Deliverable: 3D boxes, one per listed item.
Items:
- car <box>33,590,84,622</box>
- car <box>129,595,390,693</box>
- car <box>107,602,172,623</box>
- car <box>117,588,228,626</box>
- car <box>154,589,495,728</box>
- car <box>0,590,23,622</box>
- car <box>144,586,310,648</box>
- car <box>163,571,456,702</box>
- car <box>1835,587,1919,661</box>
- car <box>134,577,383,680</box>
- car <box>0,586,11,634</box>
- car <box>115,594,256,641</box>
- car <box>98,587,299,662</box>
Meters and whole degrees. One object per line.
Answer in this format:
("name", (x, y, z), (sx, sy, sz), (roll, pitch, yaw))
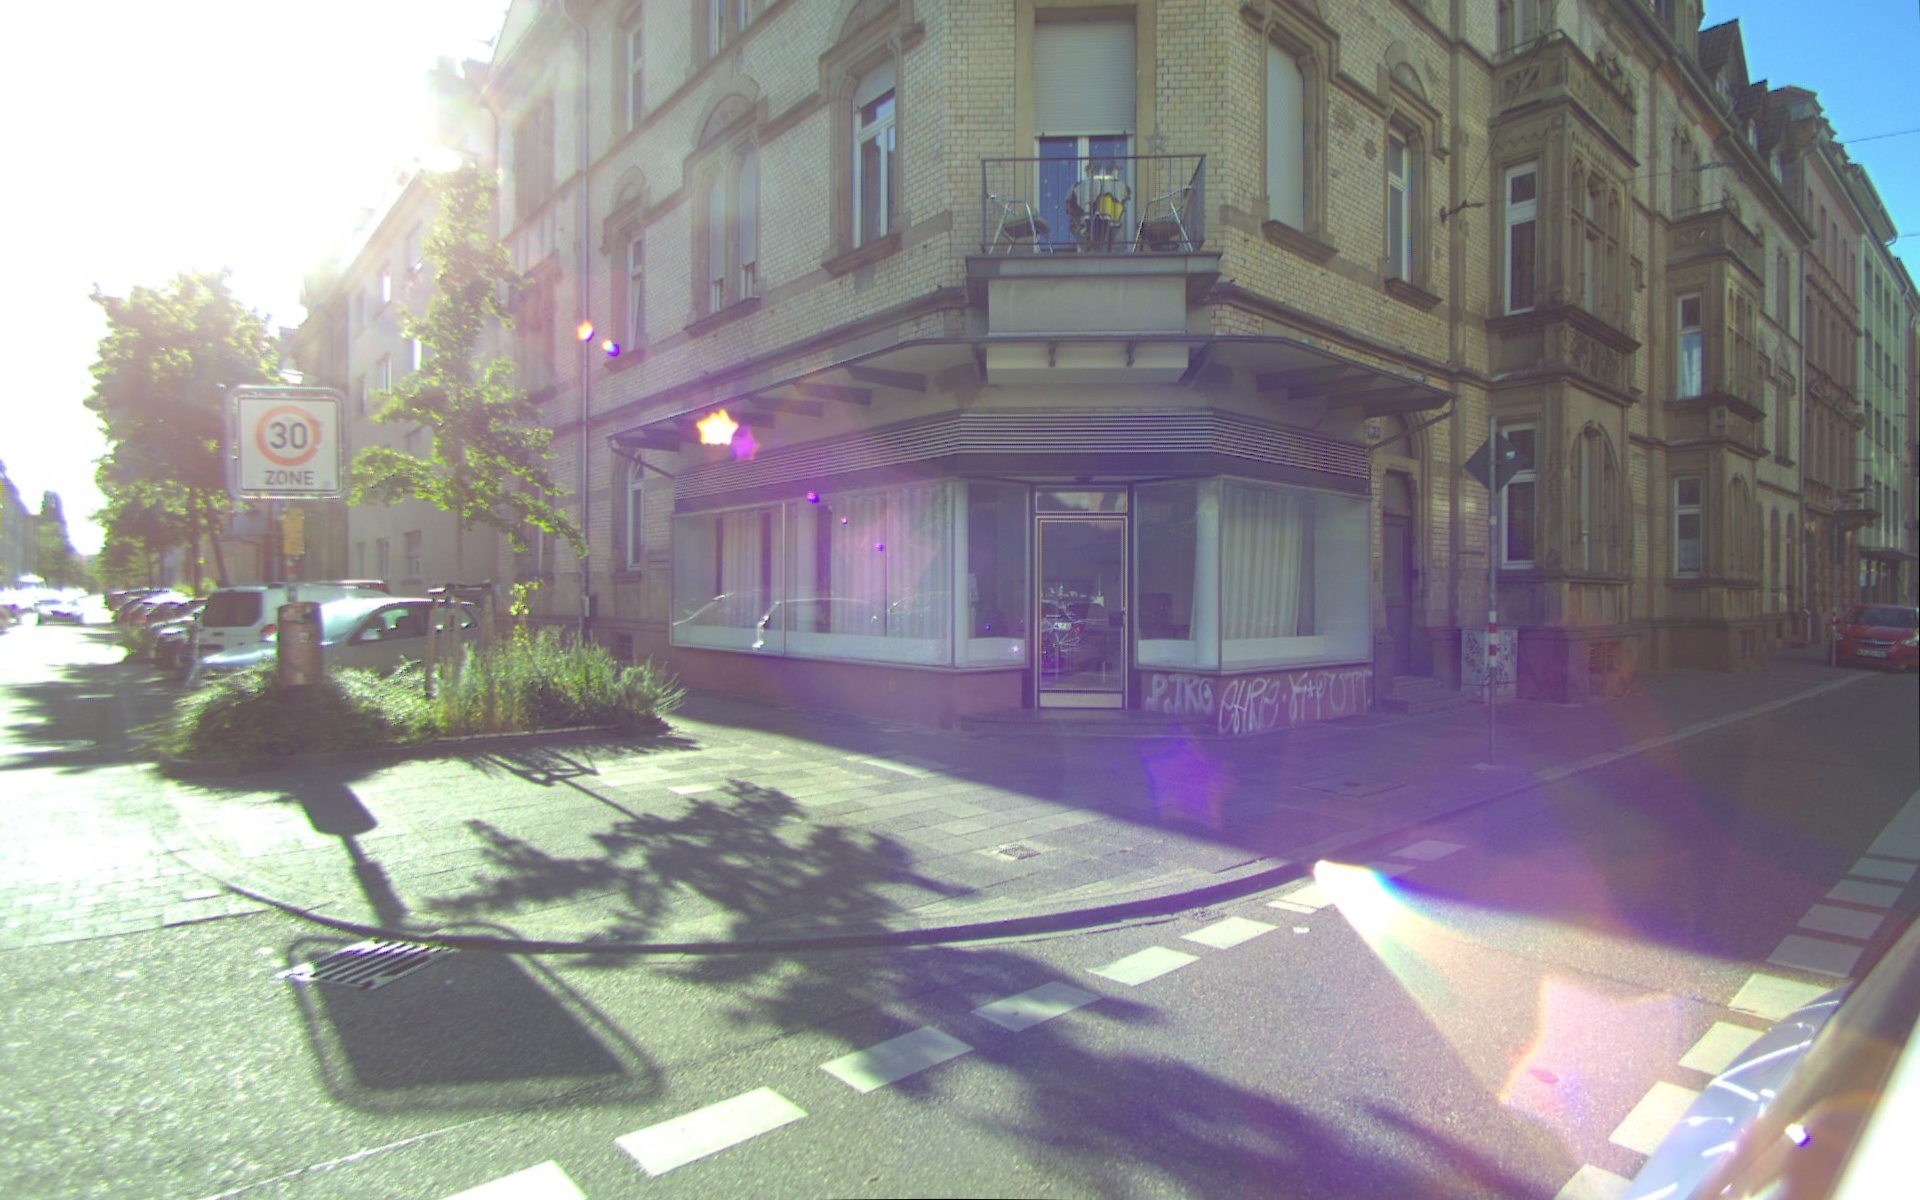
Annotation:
("car", (-46.907, 0.267, 52.722), (1.681, 1.592, 3.997), (0, 0, -37))
("car", (-12.328, 0.710, 18.069), (1.749, 1.551, 3.510), (-1, 0, 18))
("car", (-66.044, 0.979, 81.504), (1.767, 1.652, 3.892), (-1, 0, 45))
("car", (-36.106, 0.308, 46.441), (3.890, 1.652, 1.768), (-1, 0, -43))
("car", (-8.104, 0.656, 13.274), (1.749, 1.551, 3.510), (-1, 0, 18))
("car", (-49.509, 0.270, 51.963), (1.681, 1.592, 3.997), (0, 0, -37))
("car", (-22.912, 0.473, 31.740), (1.762, 1.817, 3.904), (-1, 0, 37))
("car", (-10.272, 0.510, 16.307), (1.749, 1.853, 3.718), (-1, 0, 18))
("car", (22.018, 0.509, 23.573), (4.325, 1.501, 1.869), (-1, 4, -41))
("car", (-14.351, 0.520, 20.877), (1.762, 1.920, 3.903), (-1, 0, 37))
("car", (-36.965, 0.367, 37.877), (1.681, 1.773, 3.997), (0, 0, -37))
("car", (-29.081, 0.624, 38.069), (1.762, 1.652, 3.904), (-1, 0, 37))
("car", (-19.898, 0.575, 26.576), (1.762, 1.817, 3.903), (-1, 0, 37))
